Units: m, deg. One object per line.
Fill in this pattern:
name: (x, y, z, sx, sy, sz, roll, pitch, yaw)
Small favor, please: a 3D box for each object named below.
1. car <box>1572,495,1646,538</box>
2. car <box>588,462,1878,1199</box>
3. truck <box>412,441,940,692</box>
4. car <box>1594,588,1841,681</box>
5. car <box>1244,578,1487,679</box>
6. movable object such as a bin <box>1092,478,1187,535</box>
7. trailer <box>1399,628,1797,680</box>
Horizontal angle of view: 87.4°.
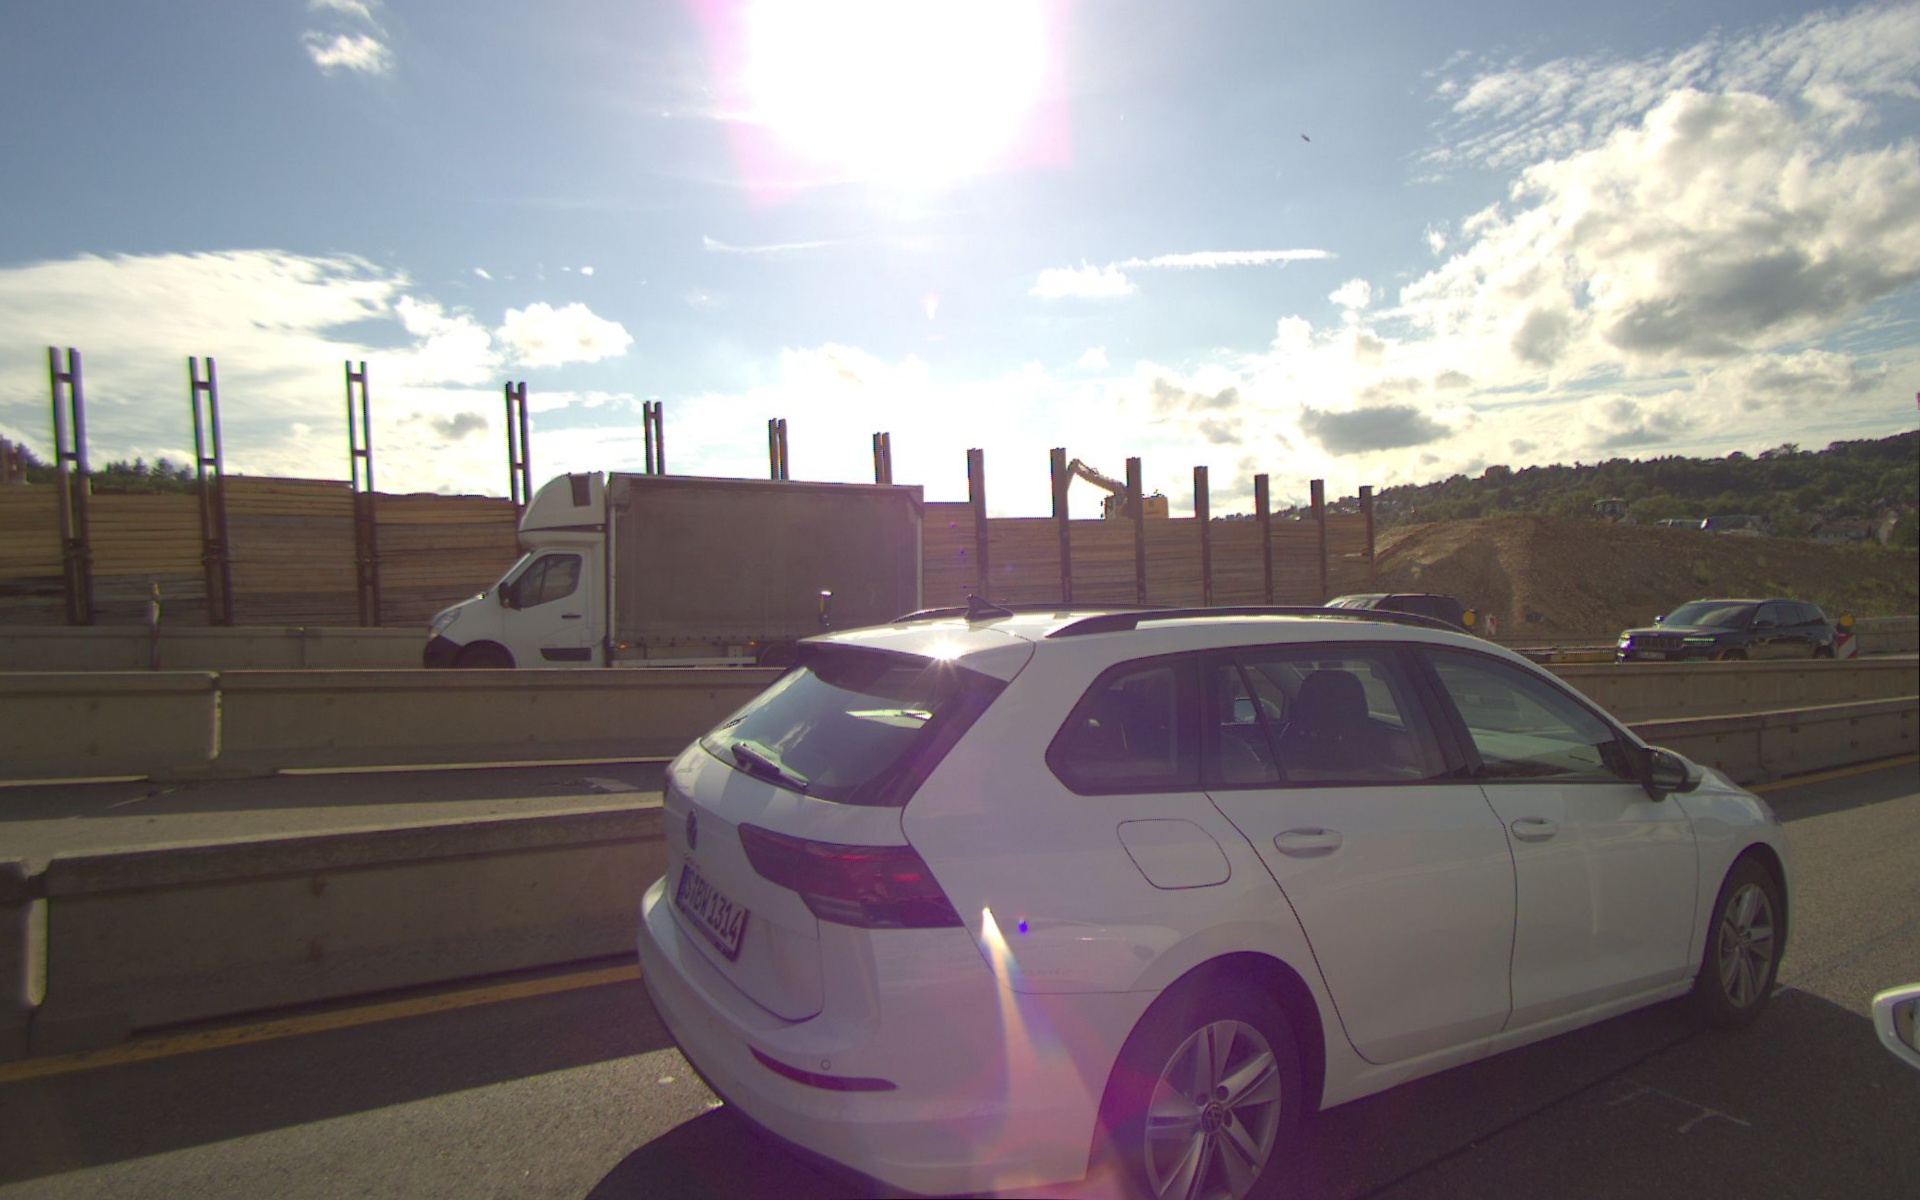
car: (42.681, -5.453, 66.039, 5.263, 2.168, 1.983, 2, -5, -32)
car: (1.205, 0.632, 3.533, 4.464, 1.510, 1.762, 3, -2, -30)
truck: (-4.296, -0.349, 16.098, 7.422, 3.355, 2.697, 2, 0, -20)
car: (14.994, 0.639, 19.872, 4.682, 1.657, 1.848, 1, 1, -24)
car: (8.166, 0.578, 20.259, 4.381, 1.828, 1.989, 2, 0, -23)
movable object such as a bin: (12.744, -6.562, 71.837, 4.442, 3.314, 5.739, 2, 0, -19)
trailer: (14.866, 1.229, 23.136, 10.180, 0.952, 2.346, 1, 0, -23)
